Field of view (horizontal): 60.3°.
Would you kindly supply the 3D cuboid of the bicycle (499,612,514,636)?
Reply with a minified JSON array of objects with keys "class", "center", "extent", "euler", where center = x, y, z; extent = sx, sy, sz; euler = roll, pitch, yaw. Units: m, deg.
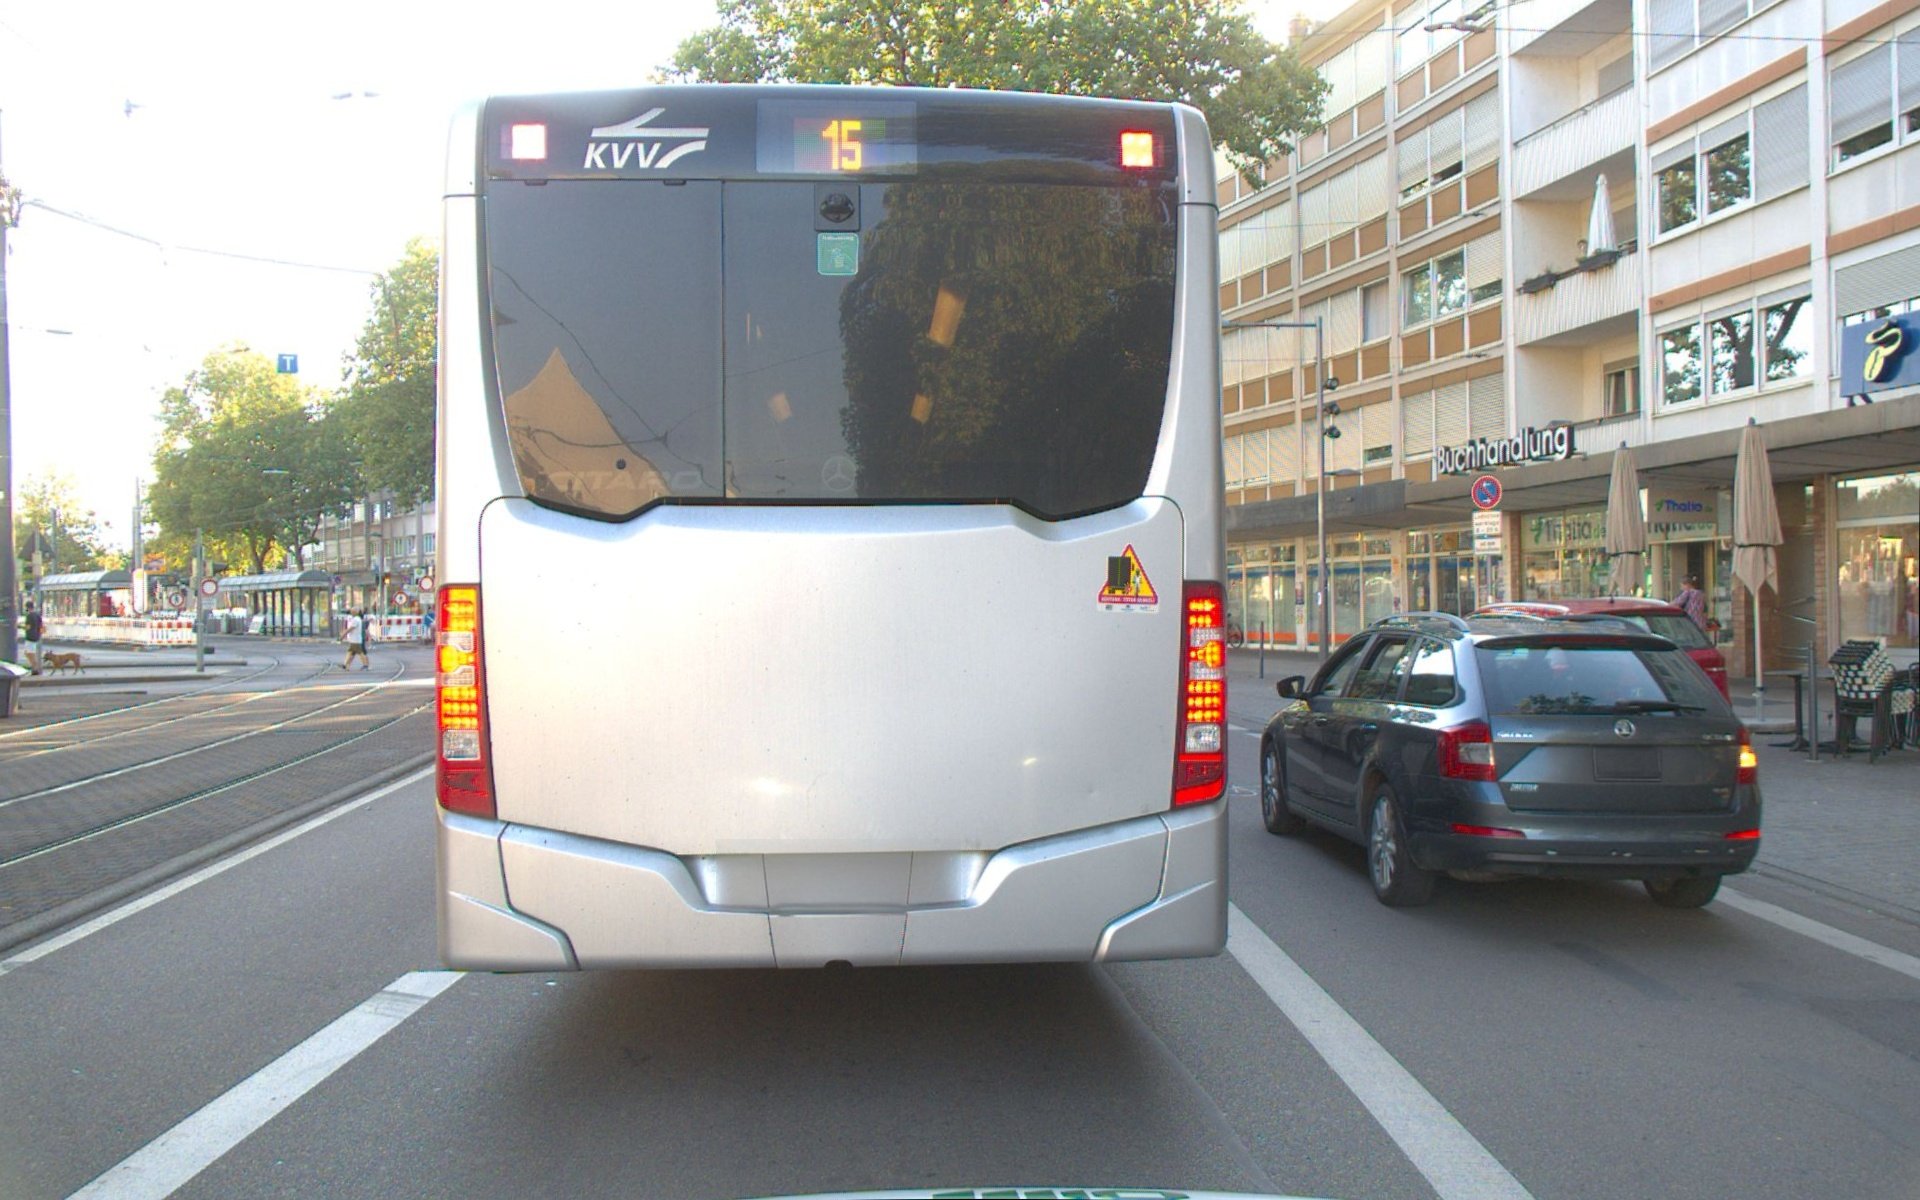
[{"class":"bicycle","center":[-23.185,1.212,84.560],"extent":[0.500,1.232,2.079],"euler":[-1,0,-21]}]

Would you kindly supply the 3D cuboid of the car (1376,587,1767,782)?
[{"class":"car","center":[5.677,0.703,16.054],"extent":[1.744,1.522,4.563],"euler":[-3,0,-5]}]

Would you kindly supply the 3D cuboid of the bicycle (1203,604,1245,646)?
[{"class":"bicycle","center":[7.262,0.690,45.546],"extent":[0.431,1.111,1.453],"euler":[-3,1,-20]}]

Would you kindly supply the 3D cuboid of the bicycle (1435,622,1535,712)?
[{"class":"bicycle","center":[6.874,0.853,21.718],"extent":[0.502,1.089,1.657],"euler":[-3,0,-10]}]

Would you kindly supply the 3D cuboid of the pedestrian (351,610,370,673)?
[{"class":"pedestrian","center":[-14.942,1.027,41.207],"extent":[0.403,1.530,0.513],"euler":[-1,0,-24]}]

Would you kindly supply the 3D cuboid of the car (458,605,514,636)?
[{"class":"car","center":[-25.128,1.095,87.630],"extent":[1.651,1.494,3.365],"euler":[-5,3,-38]}]

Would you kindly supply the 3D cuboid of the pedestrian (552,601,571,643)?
[{"class":"pedestrian","center":[-16.800,0.908,69.748],"extent":[0.706,1.755,0.398],"euler":[-1,0,29]}]

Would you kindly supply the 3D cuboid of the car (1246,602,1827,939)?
[{"class":"car","center":[2.991,0.793,9.577],"extent":[1.767,1.499,4.069],"euler":[1,0,-3]}]

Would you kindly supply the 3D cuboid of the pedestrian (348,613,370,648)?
[{"class":"pedestrian","center":[-23.048,1.168,63.400],"extent":[0.766,1.326,0.590],"euler":[-1,0,-22]}]

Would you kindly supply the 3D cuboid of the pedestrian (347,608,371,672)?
[{"class":"pedestrian","center":[-14.766,0.975,40.622],"extent":[0.513,1.530,0.589],"euler":[-1,0,-24]}]

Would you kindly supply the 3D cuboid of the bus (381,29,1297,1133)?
[{"class":"bus","center":[-0.561,-0.044,9.894],"extent":[2.605,3.153,10.210],"euler":[-1,0,-3]}]

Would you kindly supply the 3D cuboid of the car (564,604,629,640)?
[{"class":"car","center":[-17.028,1.011,77.380],"extent":[1.650,1.542,3.367],"euler":[-5,3,-37]}]

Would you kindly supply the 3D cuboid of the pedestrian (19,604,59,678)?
[{"class":"pedestrian","center":[-21.958,0.964,39.432],"extent":[0.422,1.740,0.675],"euler":[1,-1,31]}]

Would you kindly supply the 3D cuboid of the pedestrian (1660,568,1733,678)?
[{"class":"pedestrian","center":[10.774,0.327,24.216],"extent":[0.627,1.579,0.806],"euler":[-1,0,-8]}]
